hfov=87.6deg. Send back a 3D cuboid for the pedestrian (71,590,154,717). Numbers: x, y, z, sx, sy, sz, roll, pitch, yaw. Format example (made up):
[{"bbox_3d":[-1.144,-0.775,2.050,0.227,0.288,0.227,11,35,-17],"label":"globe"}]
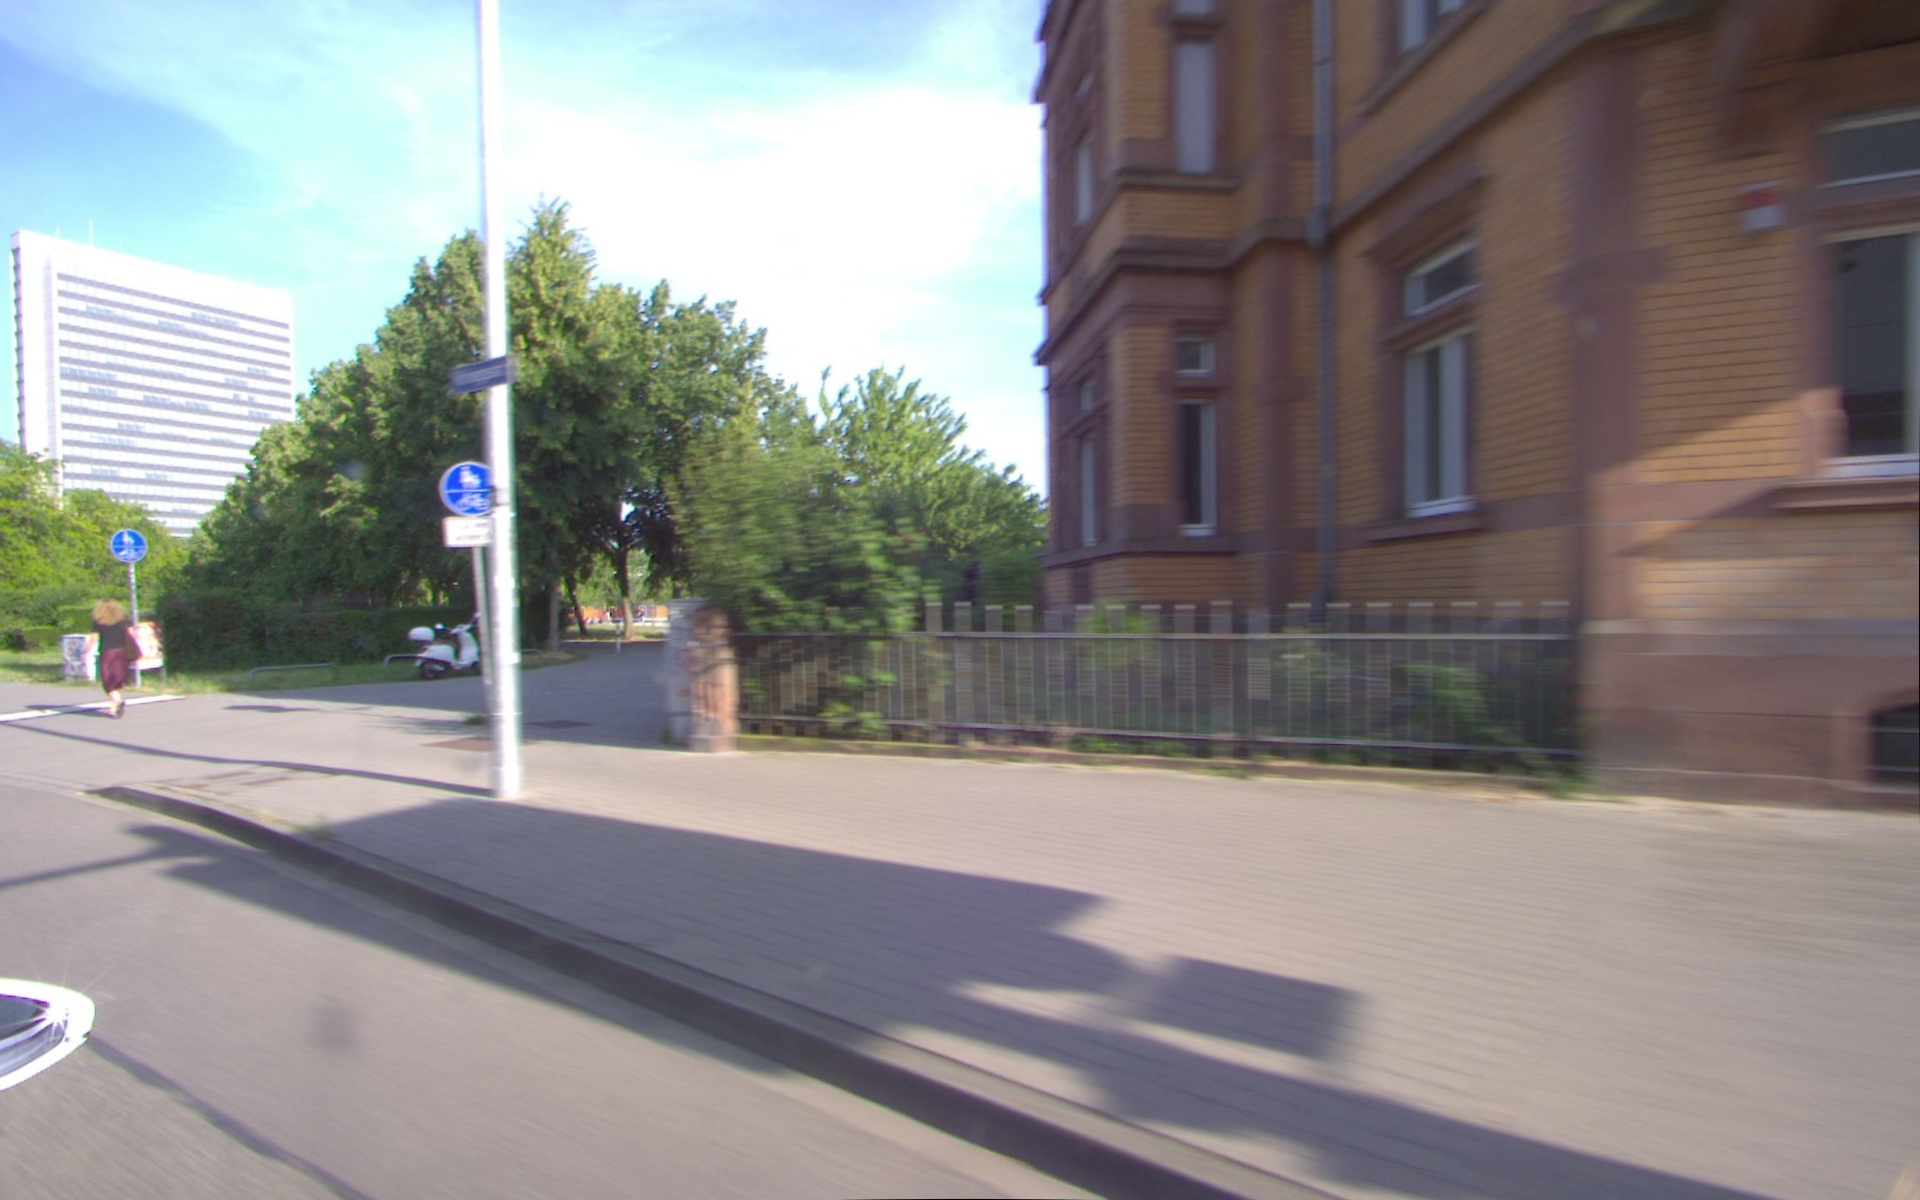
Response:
[{"bbox_3d":[-12.041,0.742,14.237,0.540,1.716,0.614,0,5,28],"label":"pedestrian"}]

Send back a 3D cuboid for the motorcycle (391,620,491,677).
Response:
[{"bbox_3d":[-11.158,1.017,21.597,0.695,1.175,2.000,0,-1,18],"label":"motorcycle"}]
